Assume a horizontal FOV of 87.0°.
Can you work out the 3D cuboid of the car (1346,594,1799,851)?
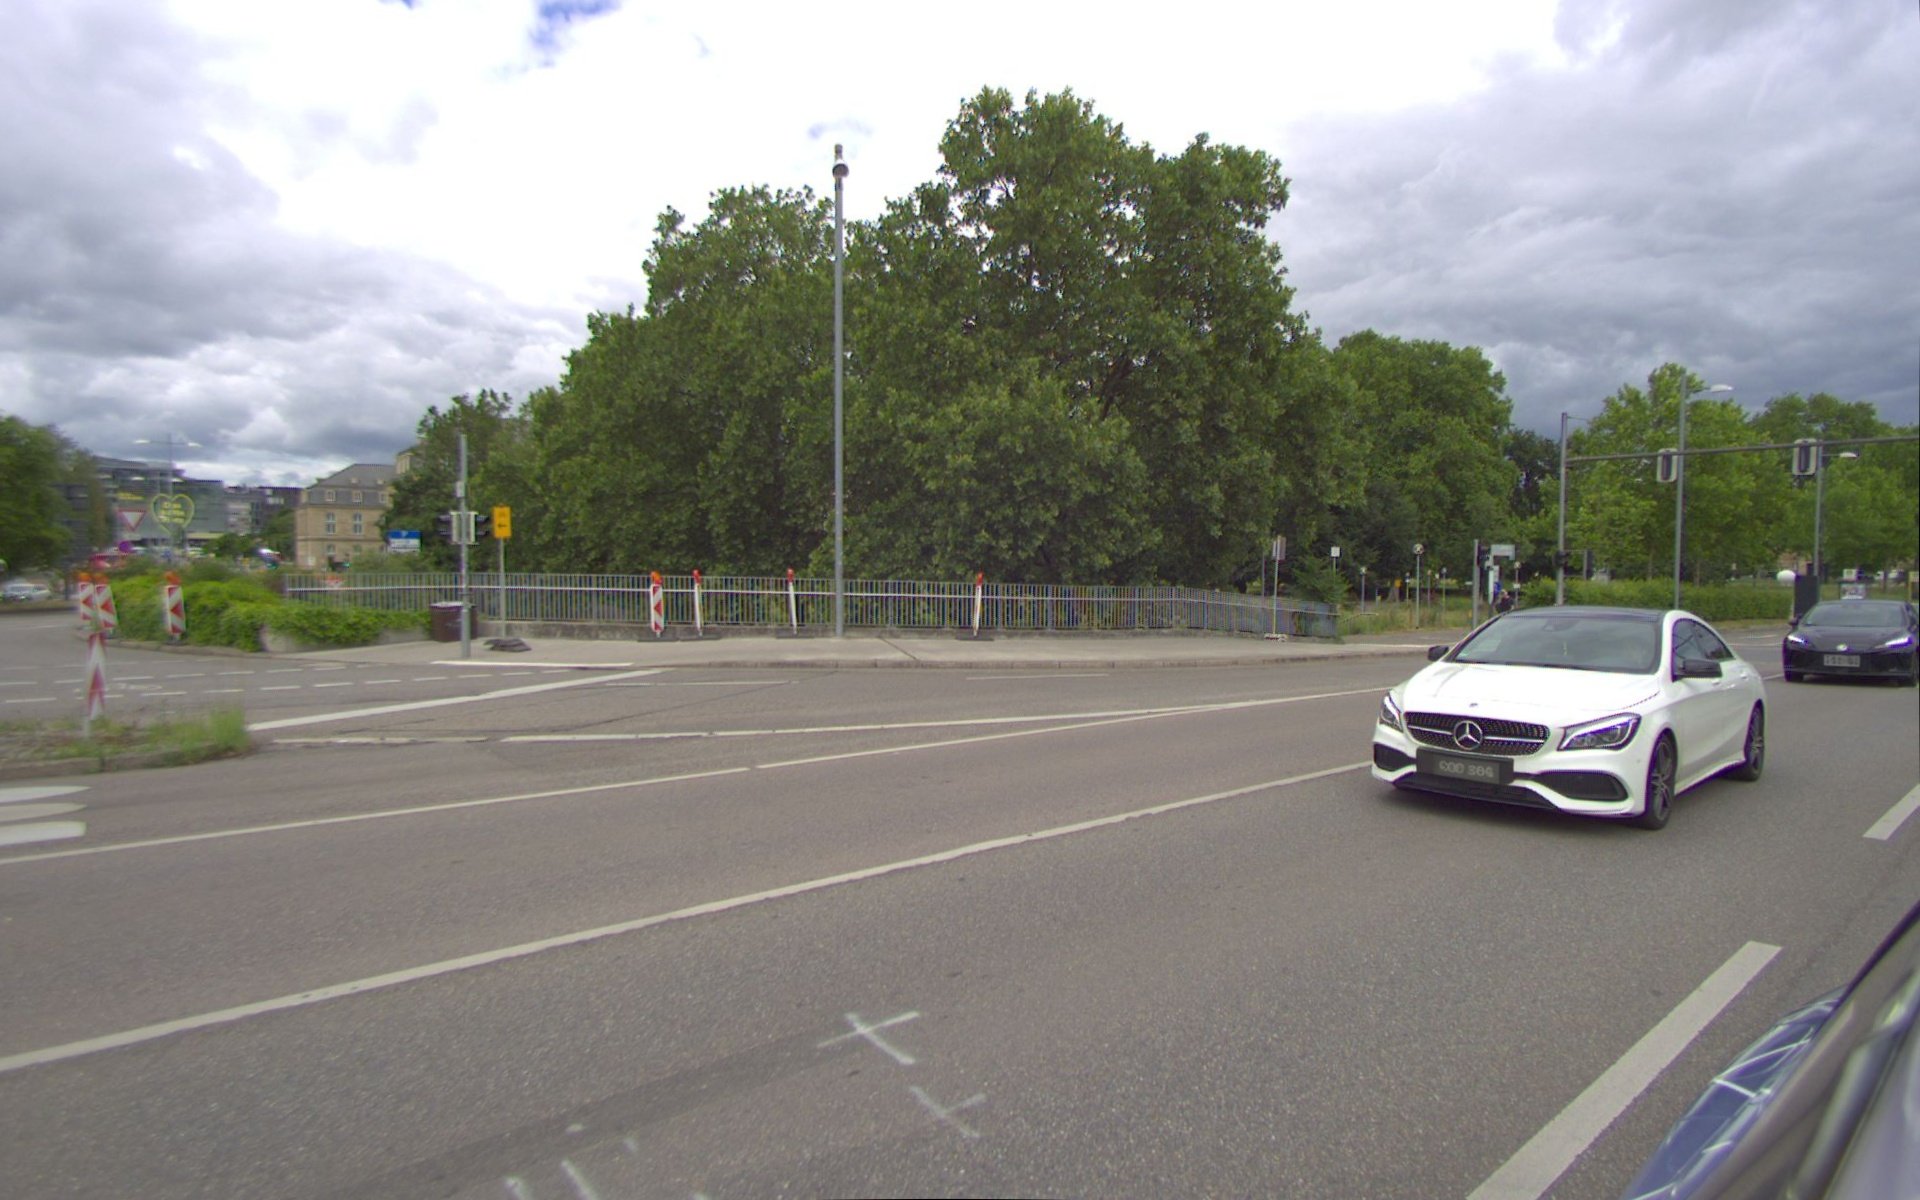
[{"bbox_3d":[4.963,0.690,7.919,4.426,1.441,1.722,-1,1,-40],"label":"car"}]

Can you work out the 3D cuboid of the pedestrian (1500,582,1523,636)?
[{"bbox_3d":[18.405,0.306,33.770,0.610,1.786,0.479,0,0,-43],"label":"pedestrian"}]

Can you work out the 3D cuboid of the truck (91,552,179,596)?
[{"bbox_3d":[-67.680,-2.091,83.210,2.753,3.411,7.651,0,1,-16],"label":"truck"}]

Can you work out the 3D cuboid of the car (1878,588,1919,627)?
[{"bbox_3d":[40.212,0.280,42.685,3.931,1.556,1.722,-1,1,-40],"label":"car"}]

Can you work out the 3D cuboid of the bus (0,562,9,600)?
[{"bbox_3d":[-71.821,-1.351,71.290,2.517,2.886,9.689,0,1,-13],"label":"bus"}]

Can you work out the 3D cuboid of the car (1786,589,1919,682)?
[{"bbox_3d":[16.914,0.587,18.725,4.047,1.543,1.829,0,0,-40],"label":"car"}]
